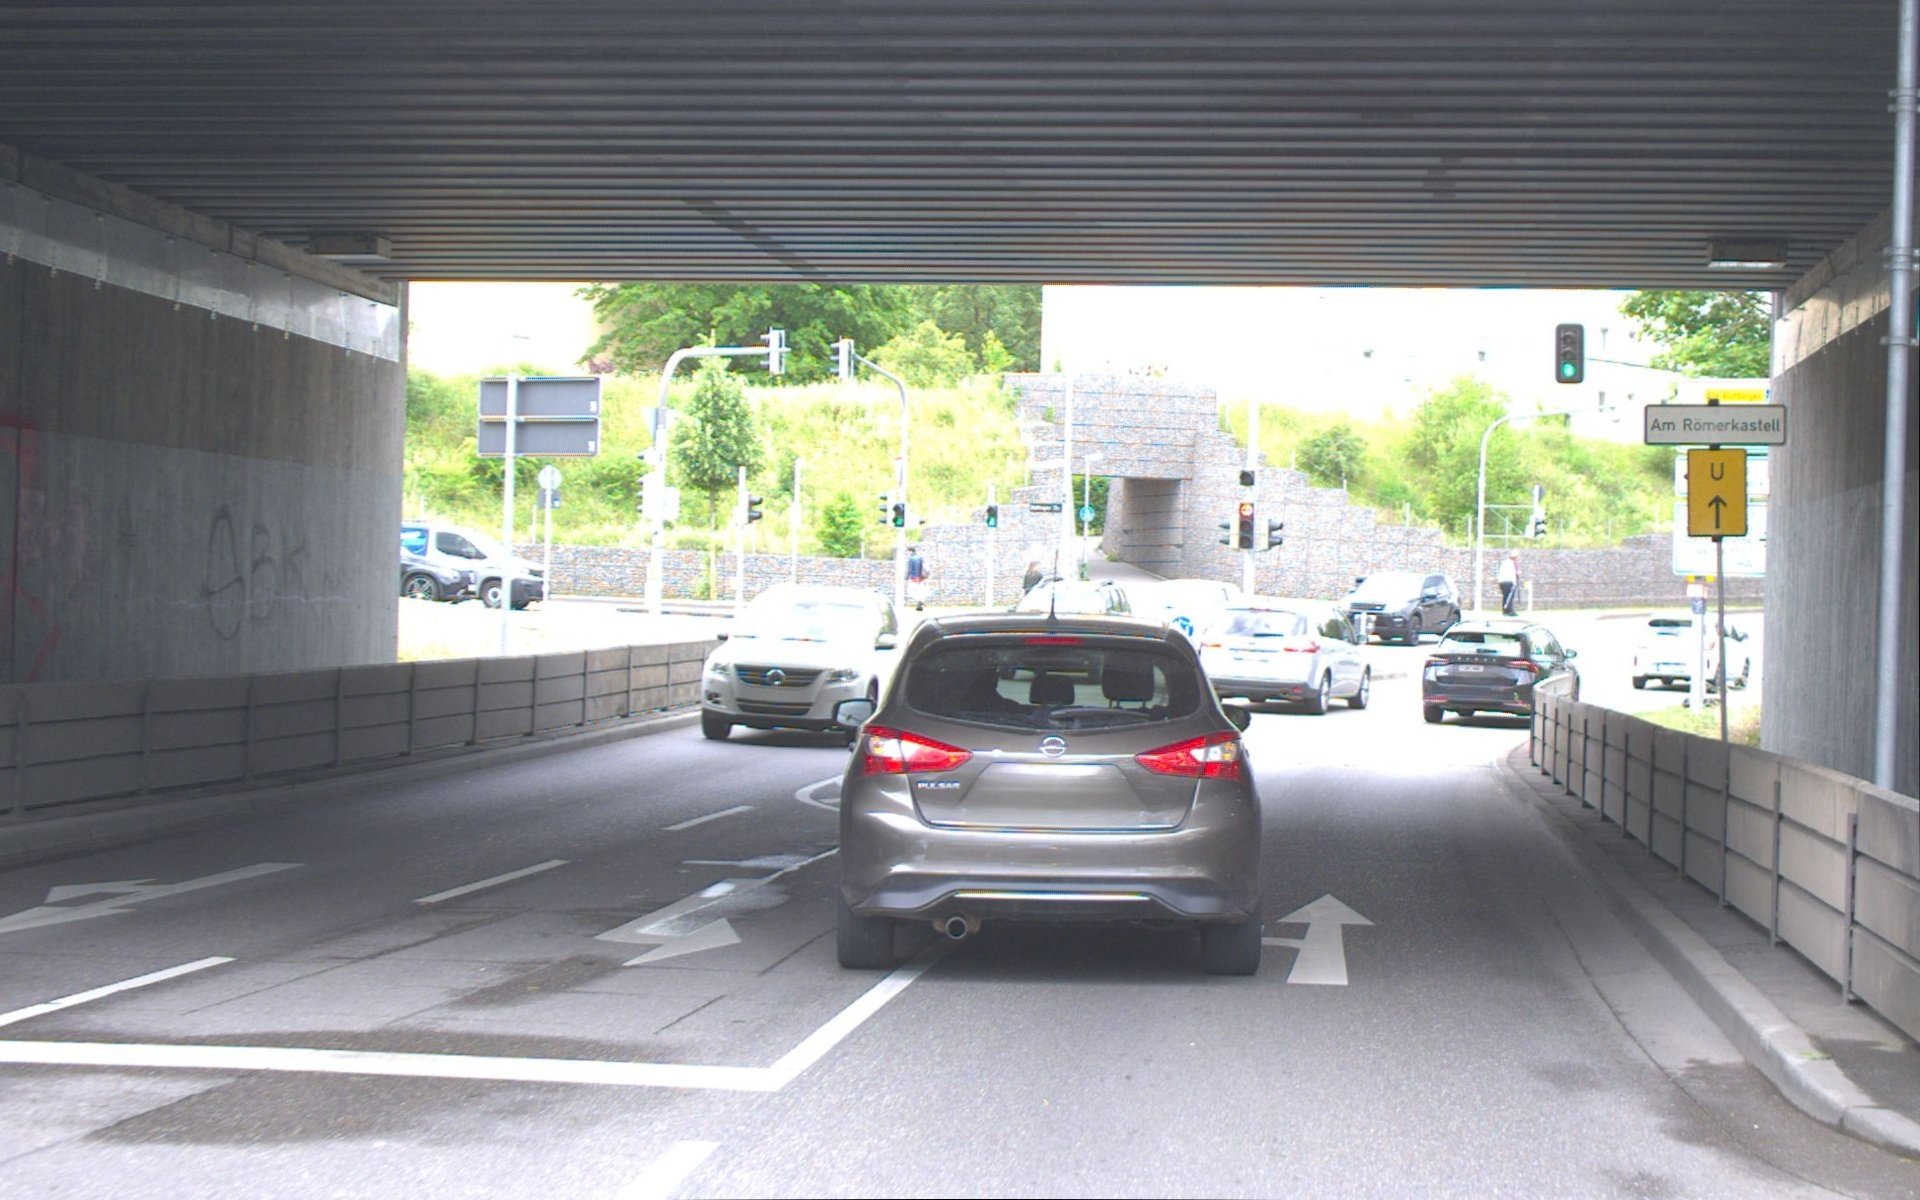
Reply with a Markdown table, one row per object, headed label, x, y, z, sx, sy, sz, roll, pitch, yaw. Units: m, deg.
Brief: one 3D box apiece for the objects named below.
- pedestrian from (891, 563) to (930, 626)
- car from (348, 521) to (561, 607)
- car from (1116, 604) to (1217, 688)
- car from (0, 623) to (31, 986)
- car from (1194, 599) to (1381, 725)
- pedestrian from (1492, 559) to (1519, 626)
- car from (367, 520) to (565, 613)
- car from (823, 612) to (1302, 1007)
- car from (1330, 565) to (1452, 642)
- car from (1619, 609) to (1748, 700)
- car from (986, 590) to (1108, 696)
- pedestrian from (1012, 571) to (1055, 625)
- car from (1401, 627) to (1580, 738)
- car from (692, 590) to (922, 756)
| label | x | y | z | sx | sy | sz | roll | pitch | yaw |
| --- | --- | --- | --- | --- | --- | --- | --- | --- | --- |
| pedestrian | -1.284 | -0.144 | 89.102 | 0.952 | 1.607 | 0.700 | 2 | 1 | -2 |
| car | -10.684 | -0.756 | 72.727 | 3.989 | 1.590 | 1.871 | 3 | 1 | 12 |
| car | 4.219 | 0.908 | 69.899 | 1.763 | 1.586 | 3.999 | 2 | 0 | 7 |
| car | -4.773 | 0.754 | 11.669 | 1.724 | 1.405 | 3.999 | 1 | 0 | 7 |
| car | 4.885 | 0.891 | 50.827 | 1.832 | 1.700 | 3.865 | 3 | 1 | 19 |
| pedestrian | 15.333 | -0.209 | 96.582 | 0.604 | 1.856 | 0.596 | 3 | 1 | 15 |
| car | -11.034 | -0.743 | 76.938 | 3.988 | 1.941 | 2.000 | 2 | 0 | 5 |
| car | 0.371 | 0.835 | 15.579 | 1.844 | 1.488 | 4.000 | 2 | 0 | -1 |
| car | 10.159 | 0.085 | 80.756 | 1.995 | 1.692 | 4.163 | 2 | 0 | 19 |
| car | 13.807 | 1.003 | 65.486 | 1.995 | 1.612 | 3.996 | 2 | 0 | 17 |
| car | 1.523 | 0.714 | 59.088 | 1.687 | 1.702 | 3.788 | 2 | 0 | 7 |
| pedestrian | 1.779 | -0.049 | 83.715 | 0.910 | 1.219 | 0.729 | 5 | 1 | -1 |
| car | 7.678 | 1.151 | 49.491 | 1.901 | 1.461 | 3.996 | 2 | 0 | 18 |
| car | -1.621 | 0.775 | 37.832 | 1.784 | 1.654 | 4.107 | 2 | 0 | 7 |
